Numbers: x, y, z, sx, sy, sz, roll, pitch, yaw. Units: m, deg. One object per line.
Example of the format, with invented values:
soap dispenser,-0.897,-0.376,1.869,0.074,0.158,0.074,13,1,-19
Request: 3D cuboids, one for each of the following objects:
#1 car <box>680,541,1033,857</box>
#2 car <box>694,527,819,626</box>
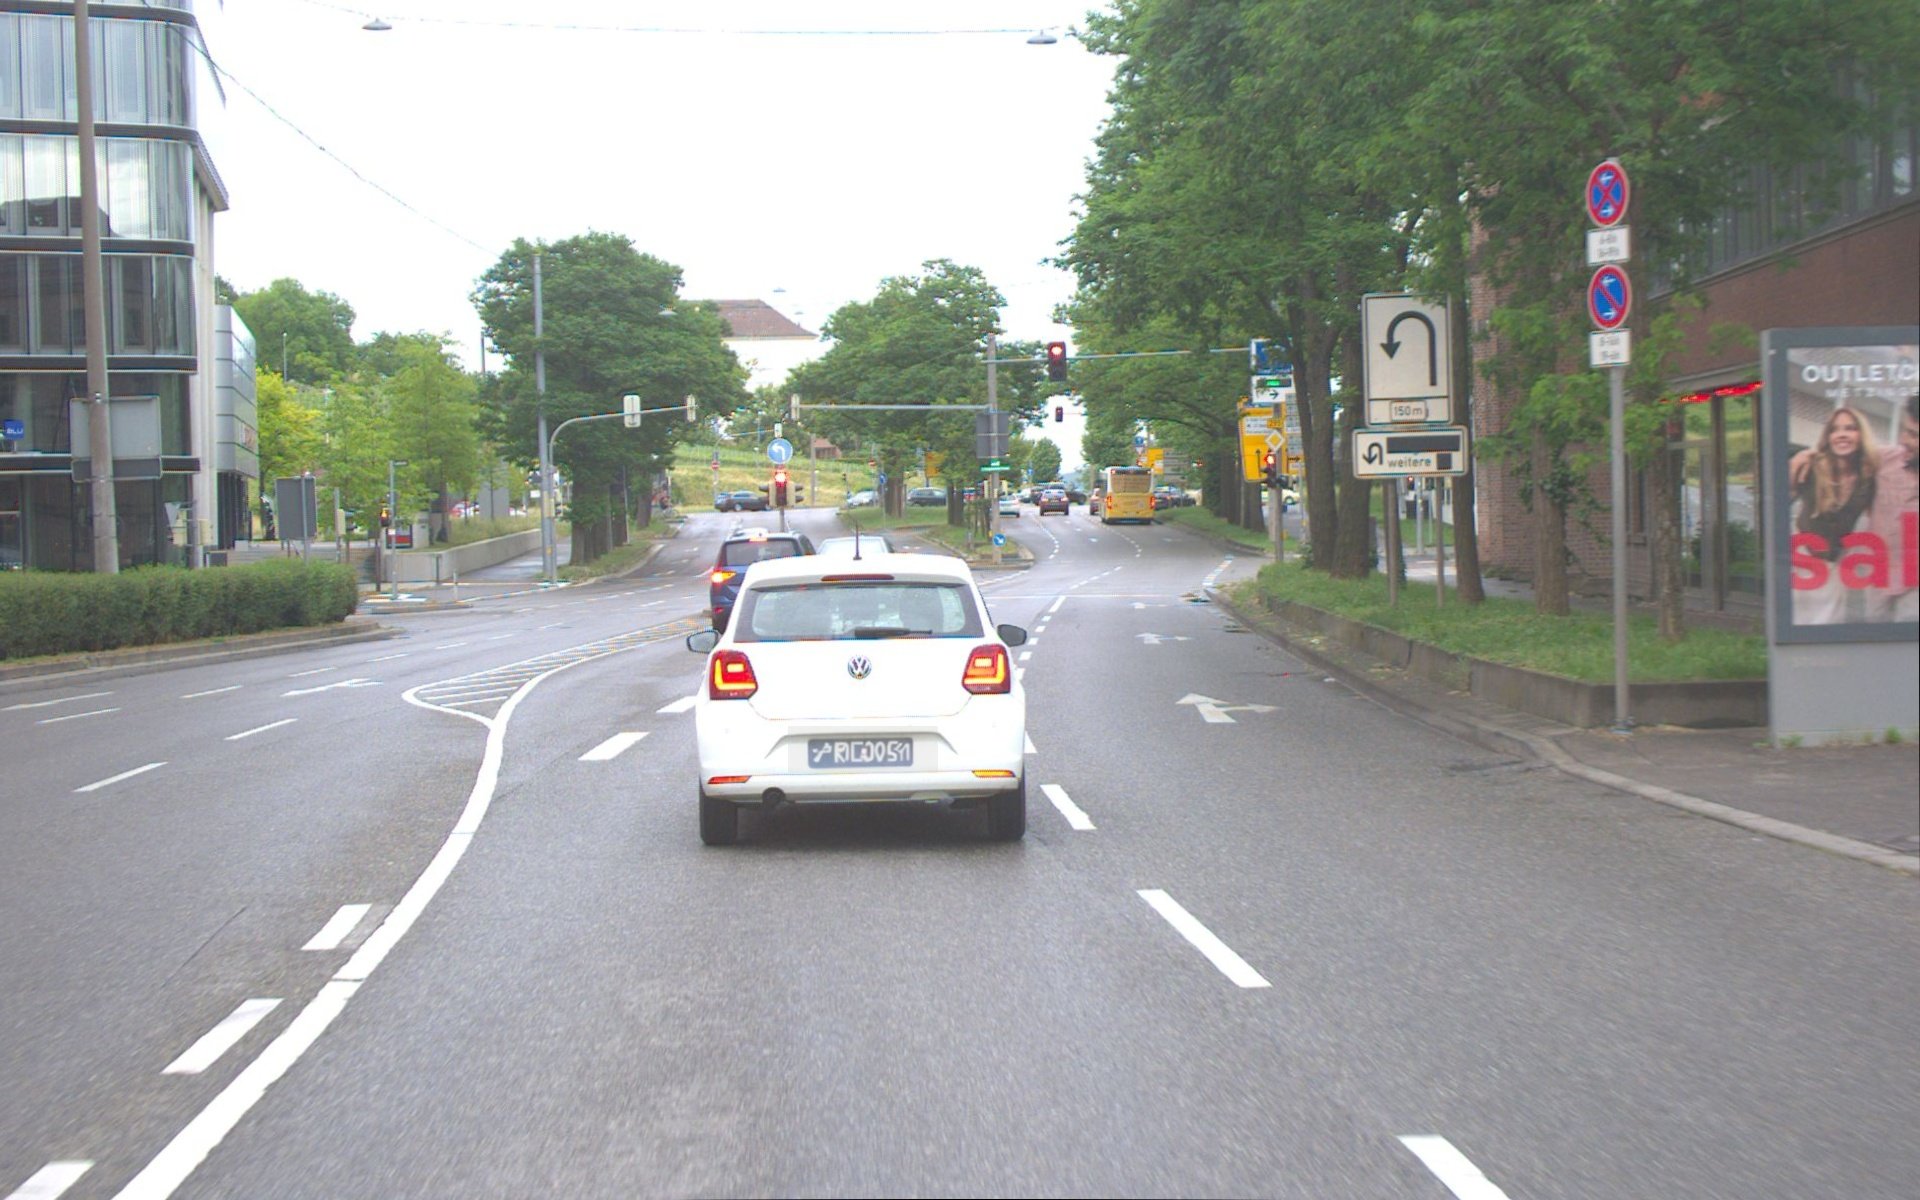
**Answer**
car,-0.591,0.443,18.416,1.671,1.469,3.780,-1,1,-3
car,-3.437,-0.425,58.329,1.993,1.568,4.001,-2,1,-3
